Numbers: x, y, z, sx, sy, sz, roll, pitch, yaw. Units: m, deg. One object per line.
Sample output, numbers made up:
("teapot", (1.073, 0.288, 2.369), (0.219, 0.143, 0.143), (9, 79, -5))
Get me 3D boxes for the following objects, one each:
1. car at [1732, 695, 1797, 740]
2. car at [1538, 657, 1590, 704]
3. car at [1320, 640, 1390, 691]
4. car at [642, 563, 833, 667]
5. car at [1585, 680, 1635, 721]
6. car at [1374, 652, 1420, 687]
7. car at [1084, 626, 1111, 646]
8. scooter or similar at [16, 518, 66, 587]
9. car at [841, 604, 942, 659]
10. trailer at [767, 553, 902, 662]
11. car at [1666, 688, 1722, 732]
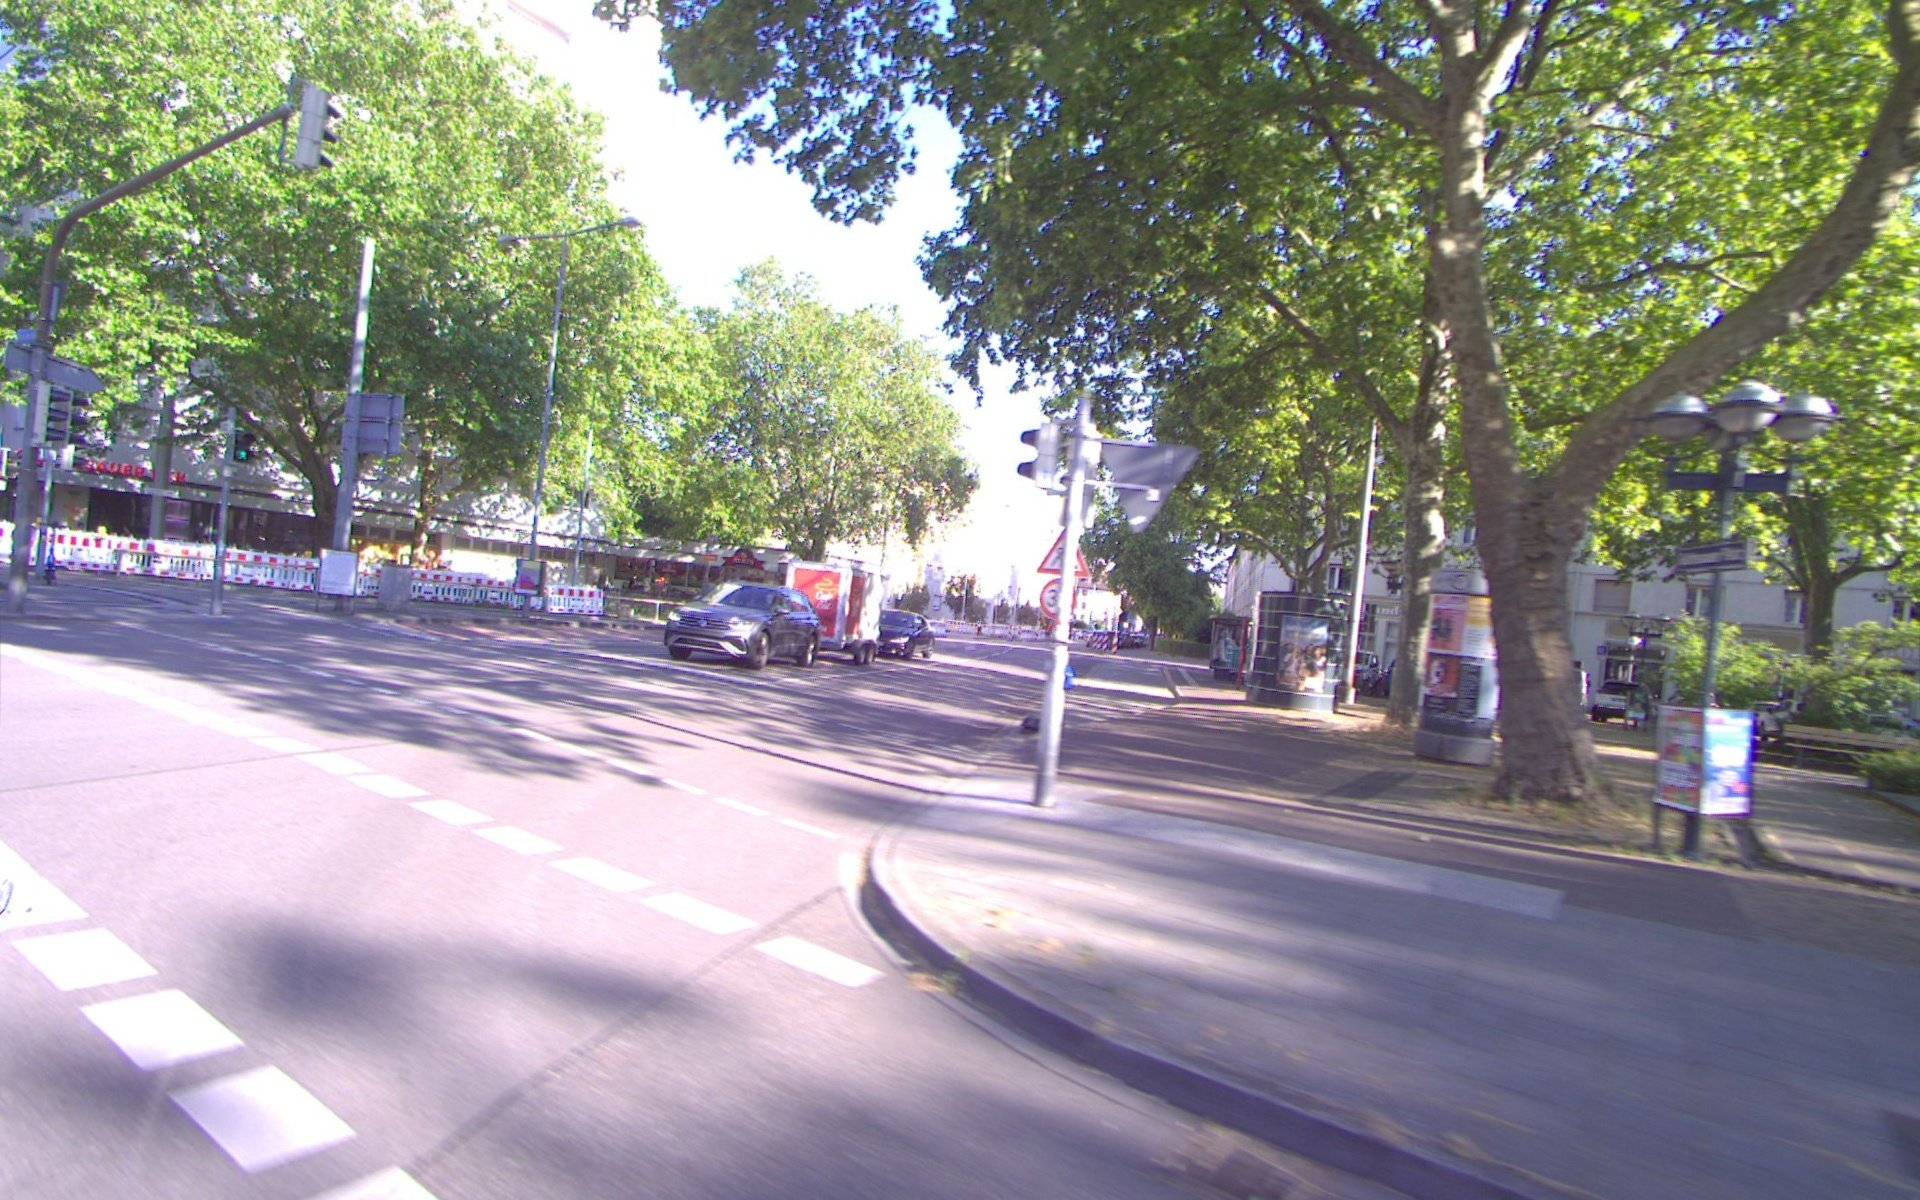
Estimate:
("car", (35.355, 5.136, 44.300), (1.751, 1.499, 4.337), (5, 1, 34))
("car", (28.799, 3.776, 47.907), (1.734, 1.895, 4.337), (6, 1, 34))
("car", (16.923, 2.733, 42.963), (1.734, 1.895, 4.337), (6, 1, 34))
("car", (-4.296, 0.408, 20.303), (1.899, 1.658, 4.586), (6, -2, 12))
("car", (30.377, 4.626, 46.951), (1.734, 1.499, 4.337), (5, 1, 34))
("car", (22.845, 3.588, 52.483), (1.701, 1.499, 4.343), (5, 1, 29))
("car", (11.838, 3.129, 86.429), (1.899, 1.376, 4.444), (6, -2, 12))
("scooter or similar", (-18.145, -0.951, 19.861), (1.272, 1.273, 0.559), (5, 1, 42))
("car", (-2.049, 1.045, 31.527), (1.899, 1.376, 4.444), (6, -2, 12))
("trailer", (-3.123, 0.260, 26.170), (1.877, 2.402, 4.518), (6, -1, 12))
("car", (33.109, 4.928, 45.476), (1.751, 1.499, 4.337), (5, 1, 34))
